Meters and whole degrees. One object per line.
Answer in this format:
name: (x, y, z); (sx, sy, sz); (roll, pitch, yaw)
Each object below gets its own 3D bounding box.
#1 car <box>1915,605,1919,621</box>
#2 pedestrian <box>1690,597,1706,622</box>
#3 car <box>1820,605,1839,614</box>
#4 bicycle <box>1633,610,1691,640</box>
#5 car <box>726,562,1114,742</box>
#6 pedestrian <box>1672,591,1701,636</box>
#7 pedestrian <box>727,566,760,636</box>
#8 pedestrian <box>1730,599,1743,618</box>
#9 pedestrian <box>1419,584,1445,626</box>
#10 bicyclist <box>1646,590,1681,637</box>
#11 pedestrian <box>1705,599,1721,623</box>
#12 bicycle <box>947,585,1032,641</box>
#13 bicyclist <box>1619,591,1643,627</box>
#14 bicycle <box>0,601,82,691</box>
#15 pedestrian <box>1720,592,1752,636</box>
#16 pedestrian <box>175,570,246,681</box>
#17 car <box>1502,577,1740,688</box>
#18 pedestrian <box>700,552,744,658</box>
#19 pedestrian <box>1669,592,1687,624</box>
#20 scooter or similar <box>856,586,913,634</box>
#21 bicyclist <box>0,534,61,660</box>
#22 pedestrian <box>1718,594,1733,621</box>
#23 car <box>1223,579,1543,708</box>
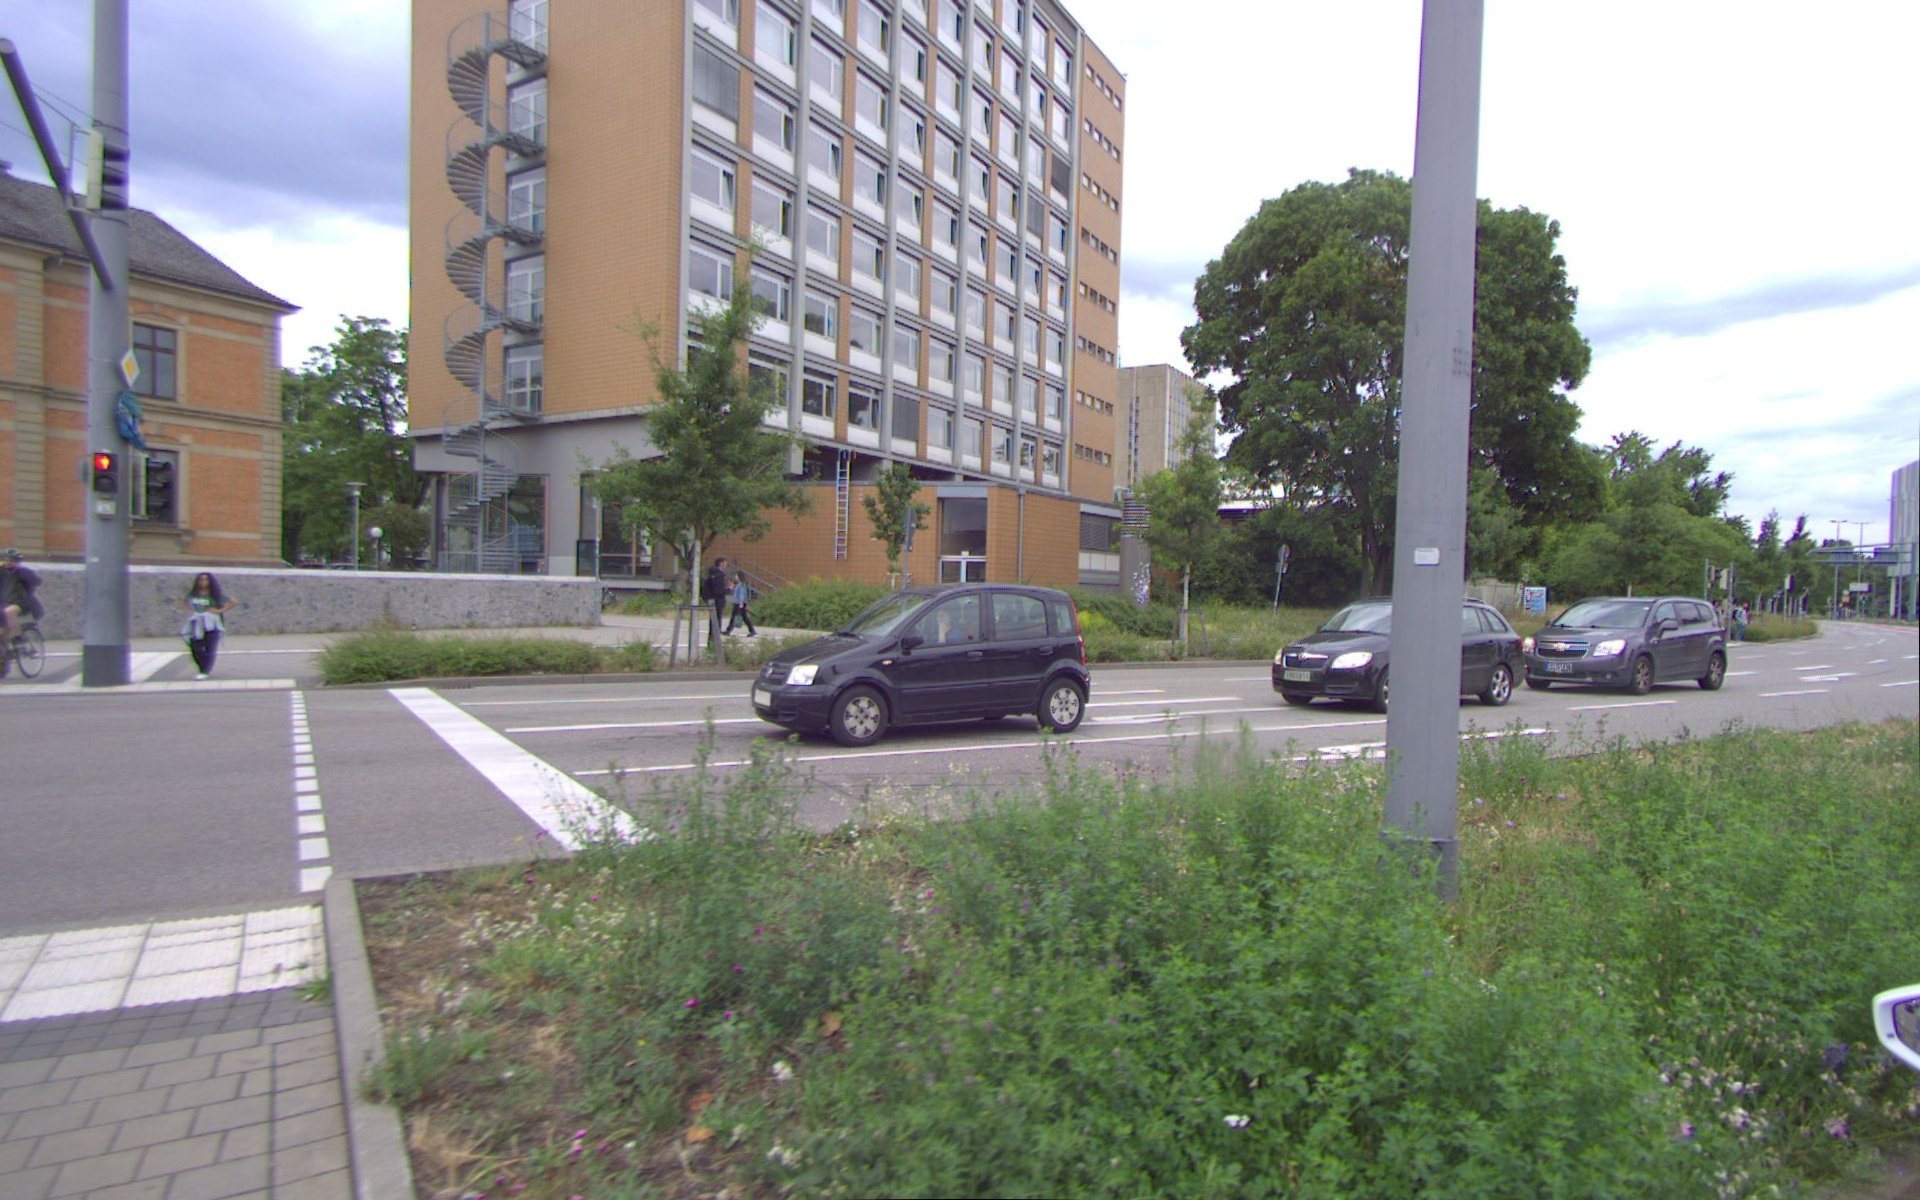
car: (108.604, 1.480, 112.167); (1.966, 1.704, 4.001); (2, 1, 32)
pedestrian: (54.695, 0.703, 74.438); (0.900, 1.789, 0.747); (0, 1, -44)
car: (128.200, 1.411, 148.133); (1.688, 1.282, 3.330); (2, 1, 34)
bicycle: (28.612, 1.016, 40.964); (1.871, 1.174, 0.790); (1, 1, -6)
car: (-0.363, 0.460, 10.197); (3.622, 1.535, 1.610); (1, 0, -30)
pedestrian: (30.526, 0.560, 42.203); (0.759, 1.867, 0.752); (0, 0, -35)
pedestrian: (-5.608, 0.025, 26.008); (0.677, 1.757, 0.744); (0, 1, -27)
pedestrian: (73.547, 0.785, 95.169); (0.907, 1.803, 1.060); (2, 1, 38)
pedestrian: (17.778, 0.204, 37.851); (0.748, 1.562, 0.557); (1, 1, -36)
bicyclist: (28.678, 0.541, 40.977); (0.818, 1.869, 0.792); (1, 1, -5)
pedestrian: (55.392, 0.798, 73.855); (1.040, 1.735, 0.747); (0, 1, -44)
bicycle: (0.791, 0.356, 27.421); (2.212, 1.468, 0.848); (1, 1, -7)
bicyclist: (30.943, 0.410, 46.312); (0.705, 1.591, 0.710); (1, 1, -37)
bicycle: (-13.117, 0.597, 13.912); (0.784, 1.042, 2.108); (1, 3, -22)
pedestrian: (33.661, 0.605, 43.566); (0.660, 1.867, 0.887); (0, 1, -35)
pedestrian: (-10.993, 0.363, 14.751); (0.739, 1.572, 0.576); (0, 1, -27)
car: (11.780, 0.535, 17.808); (4.662, 1.748, 1.859); (1, 0, -33)
pedestrian: (-4.614, 0.094, 19.427); (0.650, 2.007, 0.816); (0, 1, -26)
pedestrian: (47.349, 0.516, 66.248); (1.040, 2.041, 0.747); (0, 1, -44)
scooter or similar: (-2.150, 0.267, 28.347); (0.626, 1.320, 1.753); (0, 1, -43)
bicyclist: (-13.066, -0.057, 13.831); (0.782, 1.679, 0.810); (1, 3, -23)
pedestrian: (57.969, 0.577, 76.049); (1.040, 2.041, 0.747); (0, 1, -44)
car: (5.907, 0.560, 13.885); (4.428, 1.528, 1.861); (1, -1, -31)
